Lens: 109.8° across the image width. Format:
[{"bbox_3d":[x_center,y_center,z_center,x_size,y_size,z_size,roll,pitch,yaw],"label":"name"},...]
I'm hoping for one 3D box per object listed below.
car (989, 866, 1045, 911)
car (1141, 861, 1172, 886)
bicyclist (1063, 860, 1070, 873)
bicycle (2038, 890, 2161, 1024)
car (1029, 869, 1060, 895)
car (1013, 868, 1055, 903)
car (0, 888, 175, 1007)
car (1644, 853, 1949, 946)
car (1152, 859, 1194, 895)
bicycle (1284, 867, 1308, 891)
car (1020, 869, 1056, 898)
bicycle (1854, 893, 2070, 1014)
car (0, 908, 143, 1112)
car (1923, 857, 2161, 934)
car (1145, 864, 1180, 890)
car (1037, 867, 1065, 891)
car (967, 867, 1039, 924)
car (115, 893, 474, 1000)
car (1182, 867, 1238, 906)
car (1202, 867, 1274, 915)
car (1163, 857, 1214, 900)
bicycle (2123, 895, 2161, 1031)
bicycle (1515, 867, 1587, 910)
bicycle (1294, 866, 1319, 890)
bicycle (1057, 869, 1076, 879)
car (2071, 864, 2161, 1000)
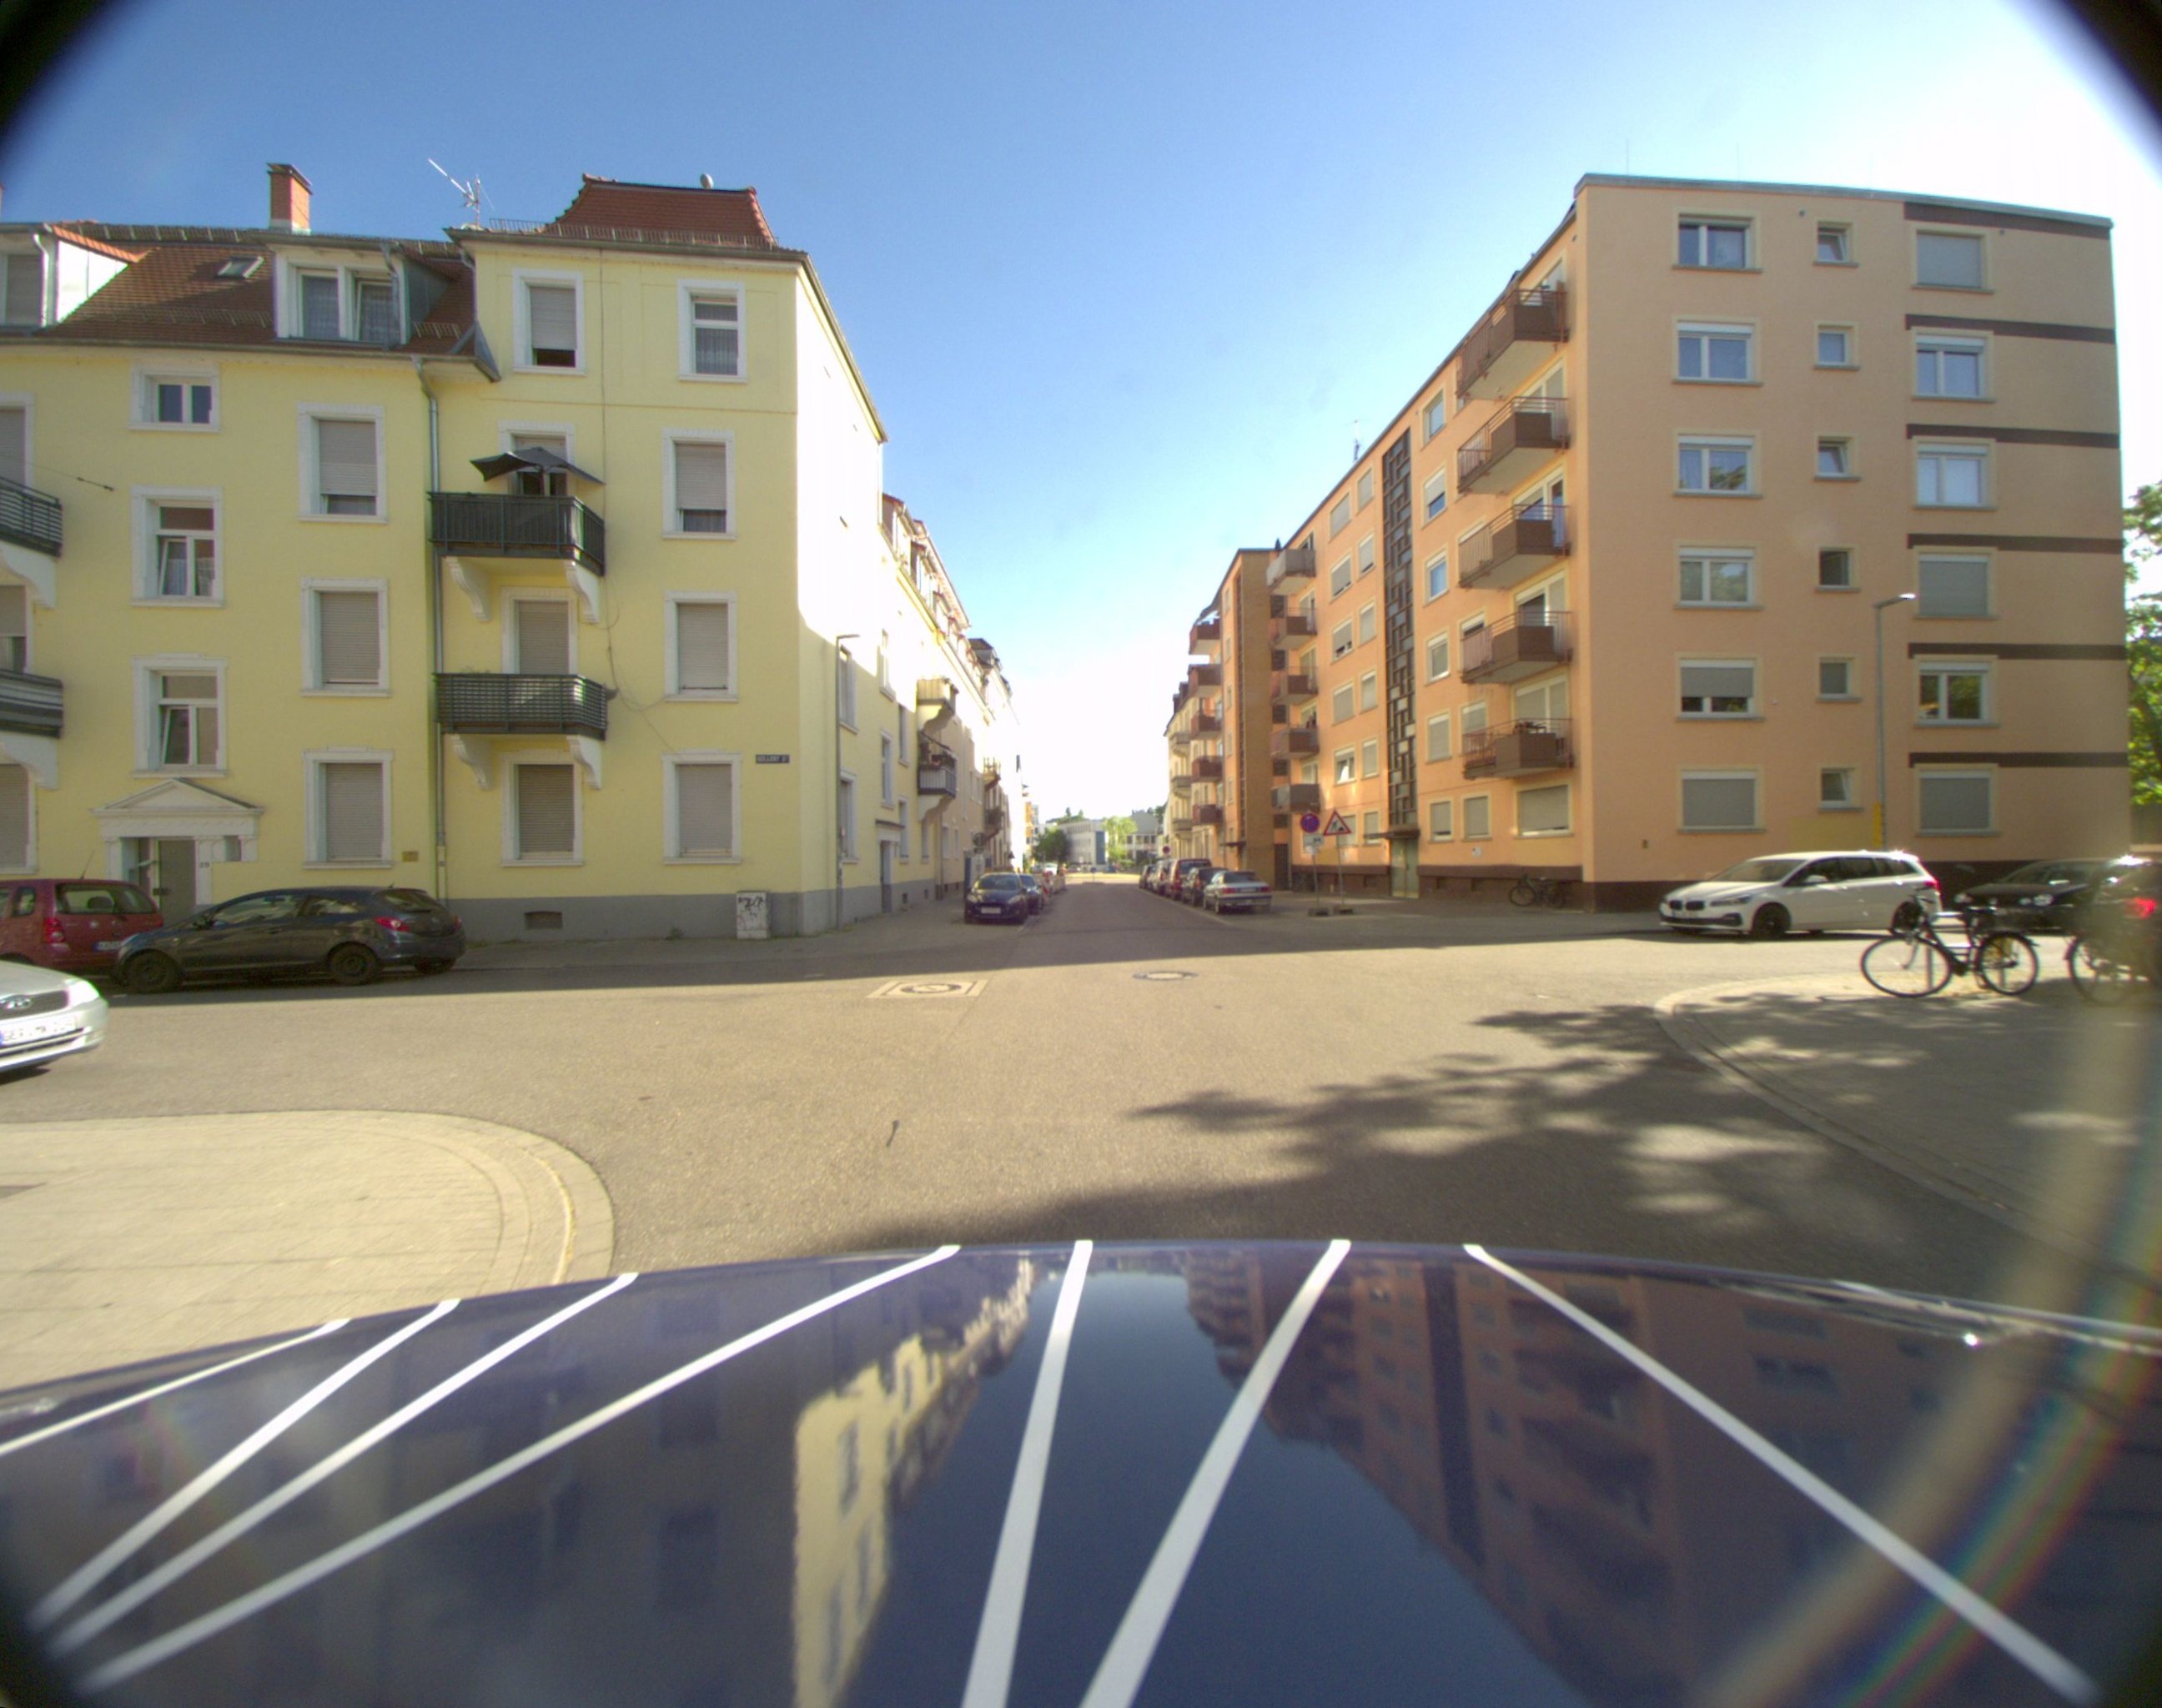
[{"bbox_3d":[-2.223,1.183,27.394,1.708,1.417,3.722,0,0,0],"label":"car"},{"bbox_3d":[5.203,1.320,52.632,1.822,1.589,3.812,-1,-1,1],"label":"car"},{"bbox_3d":[-1.593,1.371,83.969,0.743,1.388,0.727,-2,0,0],"label":"bicyclist"},{"bbox_3d":[9.933,0.935,7.153,1.664,1.140,0.435,-1,0,-12],"label":"bicycle"},{"bbox_3d":[-2.151,1.654,45.463,1.708,1.417,3.722,0,0,0],"label":"car"},{"bbox_3d":[-2.024,1.351,33.741,1.708,1.417,3.722,-1,-1,-2],"label":"car"},{"bbox_3d":[-15.736,1.339,10.977,3.188,1.575,1.570,-2,-1,-7],"label":"car"},{"bbox_3d":[13.519,0.803,14.484,4.454,1.550,1.780,-1,0,-7],"label":"car"},{"bbox_3d":[4.994,1.224,41.786,1.822,1.866,4.111,-1,-1,1],"label":"car"},{"bbox_3d":[10.436,1.199,36.948,0.494,1.100,1.805,-1,-1,-6],"label":"bicycle"},{"bbox_3d":[-2.252,1.527,40.766,1.708,1.417,3.722,-1,-1,0],"label":"car"},{"bbox_3d":[9.119,1.004,7.896,1.664,1.140,0.593,-1,0,-5],"label":"bicycle"},{"bbox_3d":[-10.110,1.224,5.493,4.176,1.462,1.693,-1,0,-7],"label":"car"},{"bbox_3d":[20.005,0.784,15.311,4.454,1.371,1.821,-1,0,-7],"label":"car"},{"bbox_3d":[5.121,1.419,47.943,1.822,1.589,3.812,-1,-1,1],"label":"car"},{"bbox_3d":[-1.943,1.626,50.572,1.708,1.417,3.722,0,0,0],"label":"car"},{"bbox_3d":[-2.158,1.140,21.927,1.708,1.417,3.722,0,0,0],"label":"car"},{"bbox_3d":[-11.603,1.320,11.444,3.509,1.371,1.647,-1,-2,-6],"label":"car"},{"bbox_3d":[5.061,1.240,30.163,1.678,1.413,3.286,-1,-1,1],"label":"car"},{"bbox_3d":[5.127,1.176,25.168,1.678,1.413,3.501,-1,-1,1],"label":"car"},{"bbox_3d":[4.991,1.114,35.810,1.822,1.866,4.111,-1,-1,1],"label":"car"},{"bbox_3d":[10.176,0.928,6.665,1.861,1.140,0.435,-1,0,-10],"label":"bicycle"},{"bbox_3d":[12.651,0.908,20.506,0.688,1.100,1.805,-1,-1,-6],"label":"bicycle"},{"bbox_3d":[10.974,1.147,37.008,0.494,1.100,1.805,-1,-1,-6],"label":"bicycle"},{"bbox_3d":[-1.604,2.221,83.977,2.020,1.041,0.730,-2,0,0],"label":"bicycle"},{"bbox_3d":[12.654,0.746,7.133,1.713,1.376,3.990,0,-2,-40],"label":"car"}]
